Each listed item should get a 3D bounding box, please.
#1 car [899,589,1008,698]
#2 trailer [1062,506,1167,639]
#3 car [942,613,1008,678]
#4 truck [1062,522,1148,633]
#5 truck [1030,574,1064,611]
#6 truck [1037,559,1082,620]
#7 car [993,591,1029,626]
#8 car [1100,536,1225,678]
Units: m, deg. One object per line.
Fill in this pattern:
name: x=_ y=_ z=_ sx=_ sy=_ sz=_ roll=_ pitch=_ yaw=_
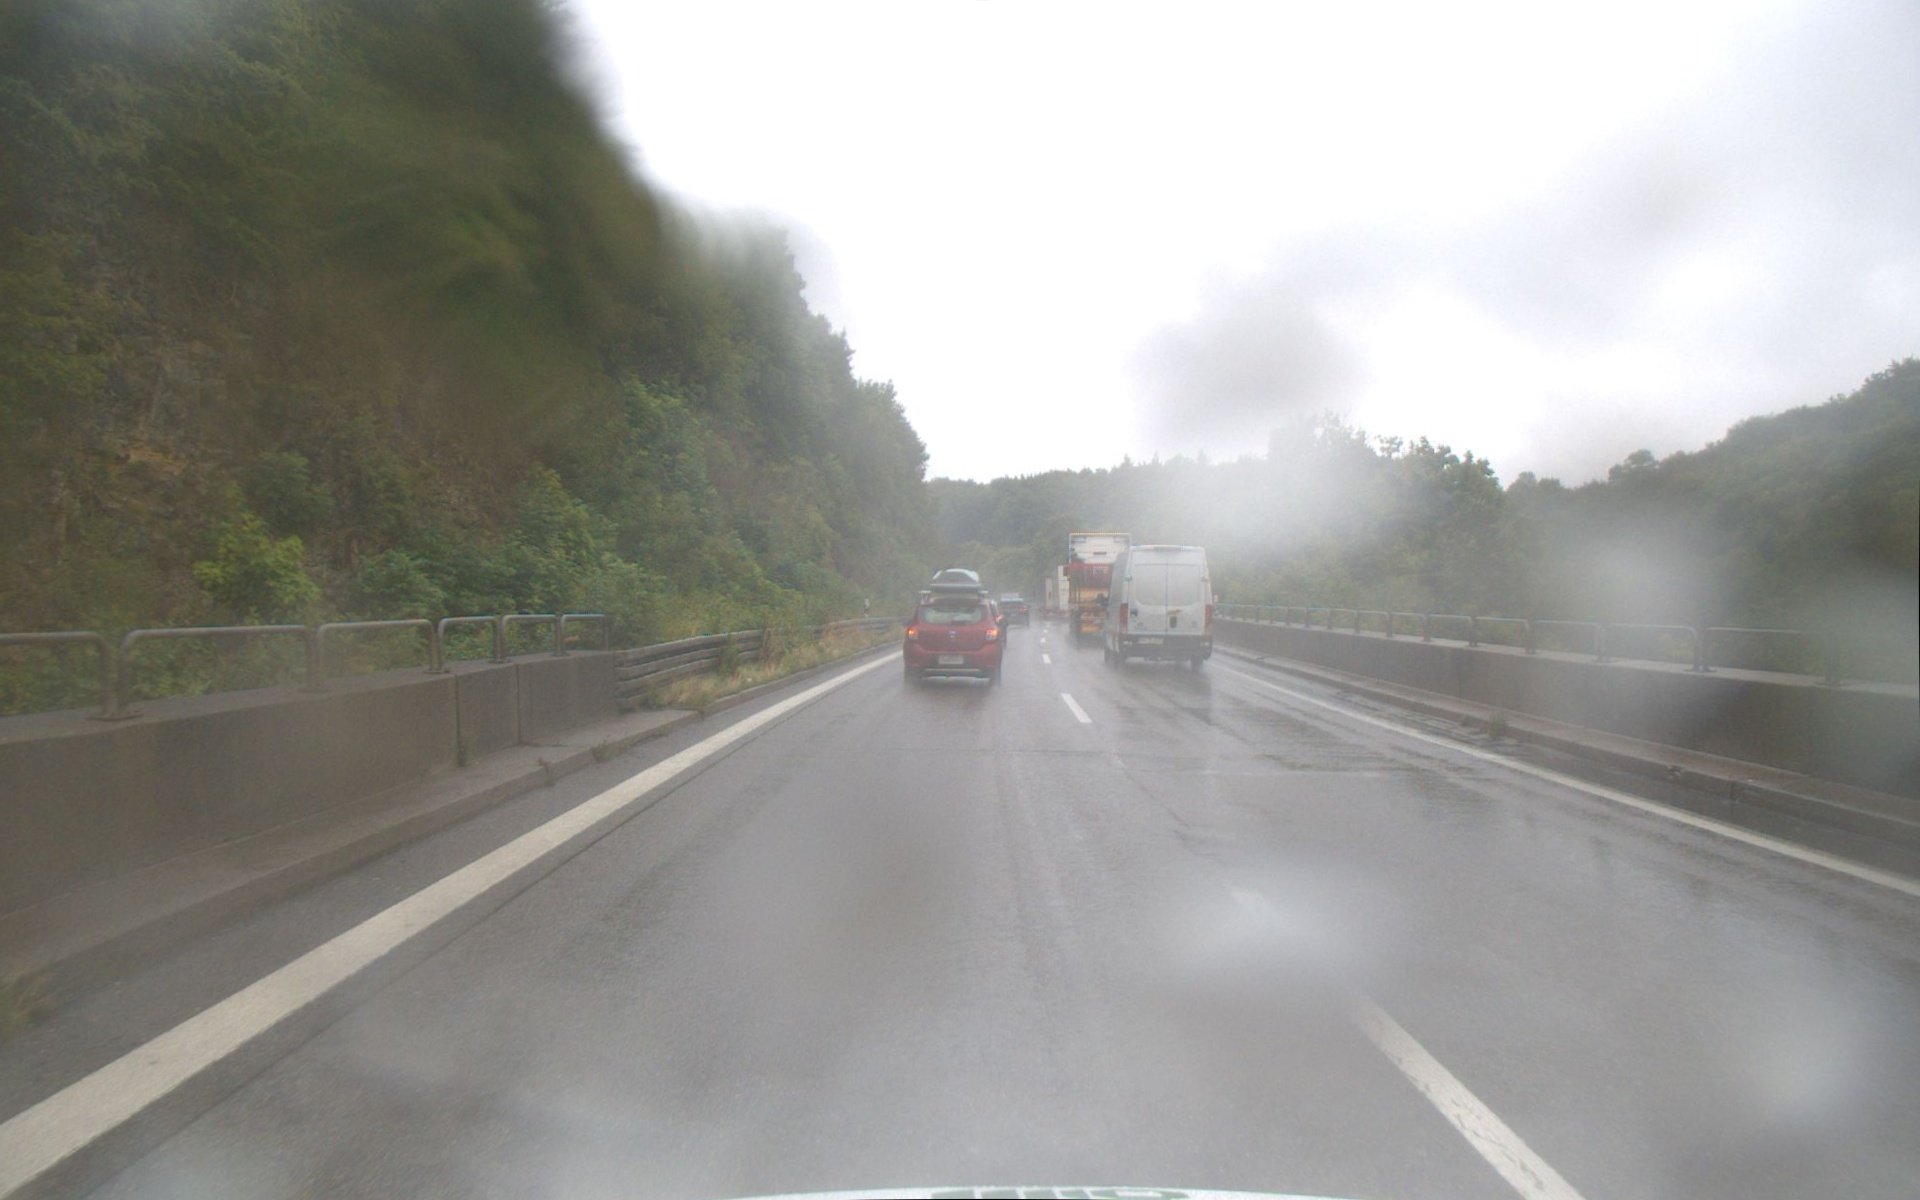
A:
car: x=-0.087 y=0.734 z=29.451 sx=1.722 sy=1.714 sz=4.000 roll=-3 pitch=0 yaw=0
trailer: x=5.183 y=-0.853 z=57.945 sx=3.151 sy=4.069 sz=13.529 roll=-1 pitch=0 yaw=3
car: x=0.438 y=1.296 z=48.799 sx=1.795 sy=1.745 sz=3.645 roll=-3 pitch=0 yaw=0
truck: x=5.561 y=-0.835 z=64.336 sx=3.152 sy=4.047 sz=5.441 roll=-1 pitch=0 yaw=3
truck: x=8.244 y=-0.712 z=157.220 sx=2.998 sy=3.369 sz=8.072 roll=-1 pitch=0 yaw=2
truck: x=7.182 y=-0.717 z=120.303 sx=2.632 sy=4.165 sz=9.315 roll=-3 pitch=0 yaw=1
car: x=2.776 y=0.464 z=90.210 sx=1.836 sy=1.735 sz=3.889 roll=-3 pitch=0 yaw=1
car: x=4.406 y=0.141 z=37.096 sx=2.160 sy=2.843 sz=7.384 roll=0 pitch=0 yaw=2
